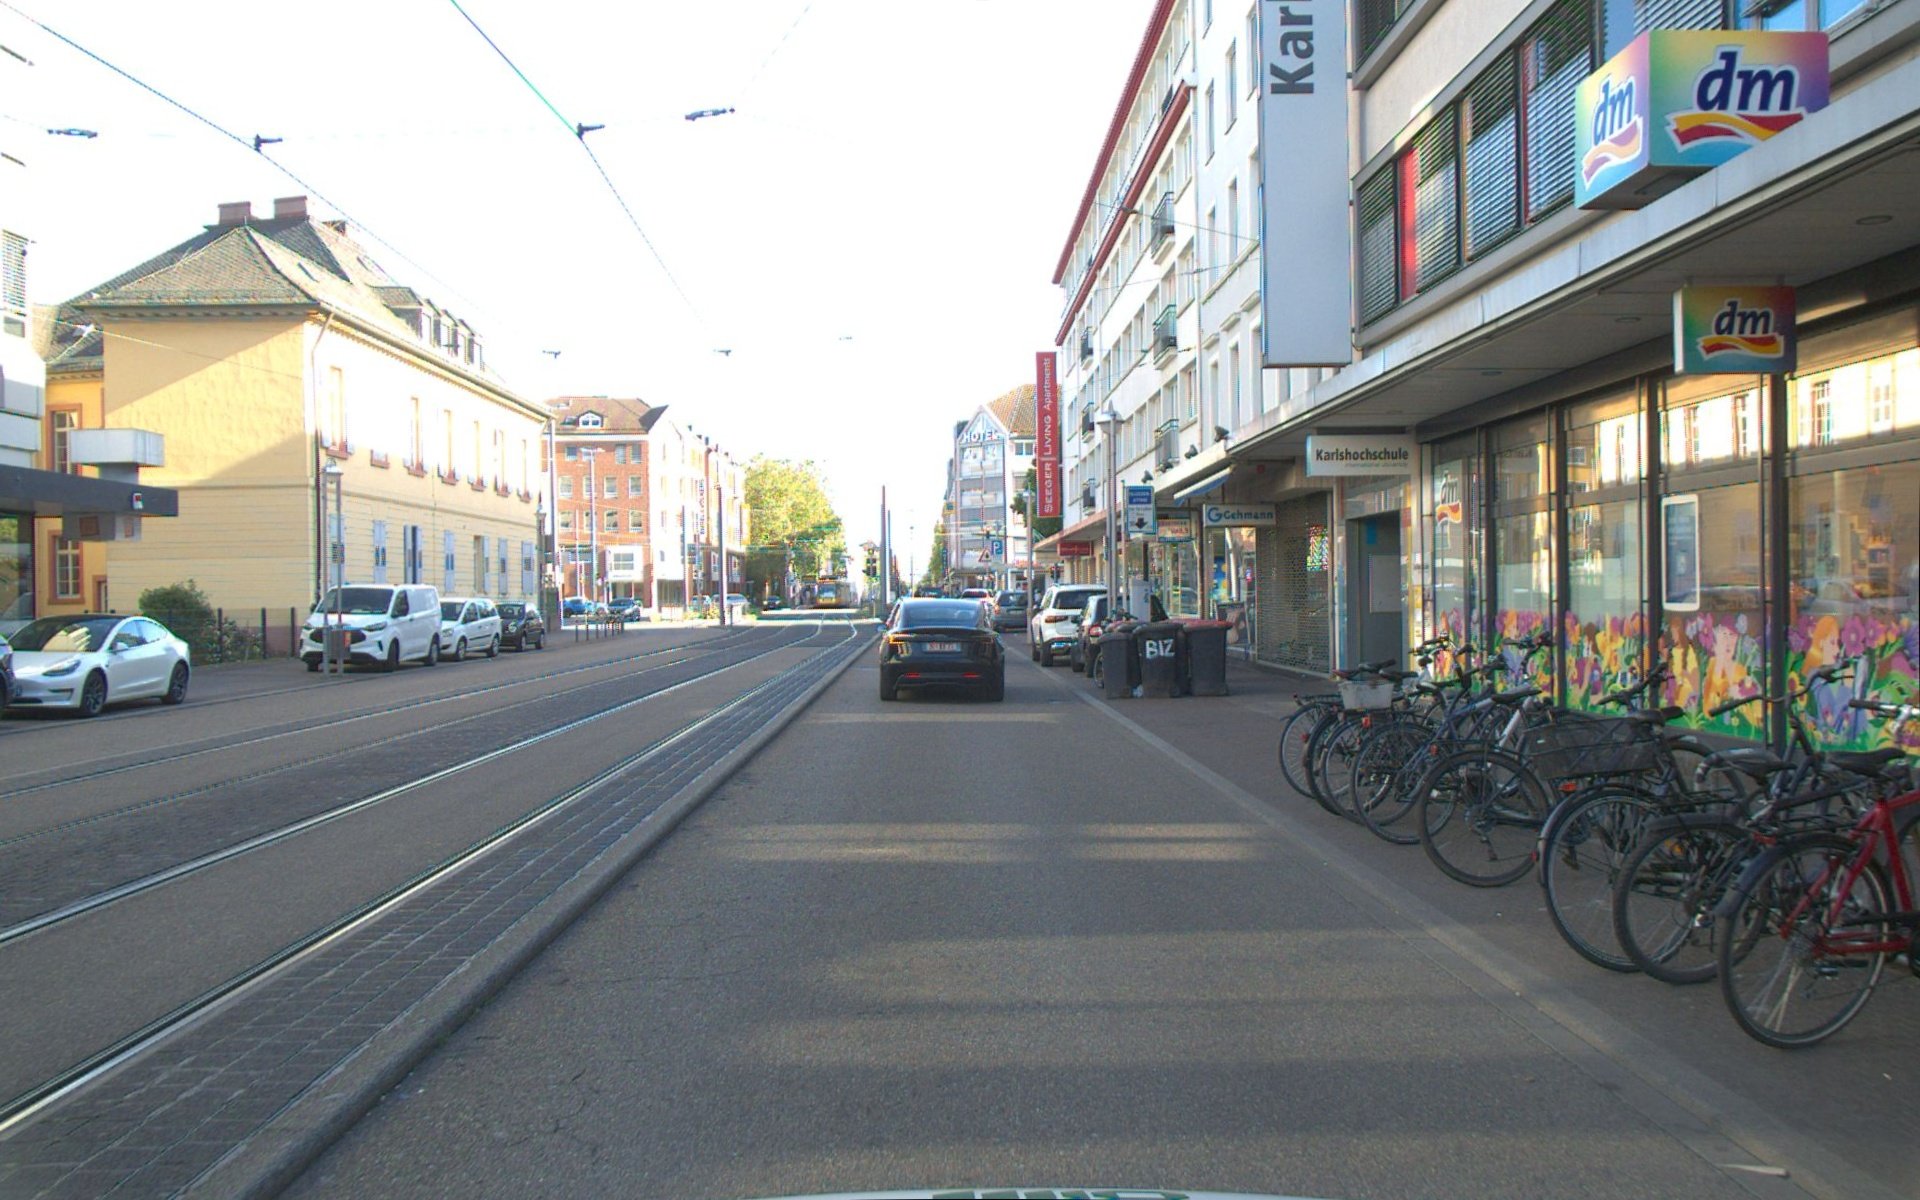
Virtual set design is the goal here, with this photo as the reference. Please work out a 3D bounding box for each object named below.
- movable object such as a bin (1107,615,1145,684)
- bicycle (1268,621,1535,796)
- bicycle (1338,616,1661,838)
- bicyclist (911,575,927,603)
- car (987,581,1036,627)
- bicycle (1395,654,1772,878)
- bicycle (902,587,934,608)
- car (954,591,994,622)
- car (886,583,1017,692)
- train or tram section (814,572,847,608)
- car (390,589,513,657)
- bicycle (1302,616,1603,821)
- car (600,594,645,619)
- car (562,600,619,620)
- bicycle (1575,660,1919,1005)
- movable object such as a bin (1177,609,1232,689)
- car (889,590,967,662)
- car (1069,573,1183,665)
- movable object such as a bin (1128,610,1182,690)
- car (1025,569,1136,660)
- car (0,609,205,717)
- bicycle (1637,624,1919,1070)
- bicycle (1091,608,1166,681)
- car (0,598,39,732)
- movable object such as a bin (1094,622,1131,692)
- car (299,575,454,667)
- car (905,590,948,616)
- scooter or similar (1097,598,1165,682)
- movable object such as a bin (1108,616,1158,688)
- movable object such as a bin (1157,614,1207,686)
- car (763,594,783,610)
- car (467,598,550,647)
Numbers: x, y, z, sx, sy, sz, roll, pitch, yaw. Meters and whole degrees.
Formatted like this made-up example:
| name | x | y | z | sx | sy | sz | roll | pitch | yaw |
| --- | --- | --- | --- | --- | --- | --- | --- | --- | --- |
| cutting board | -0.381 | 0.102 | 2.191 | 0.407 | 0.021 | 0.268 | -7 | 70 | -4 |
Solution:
| name | x | y | z | sx | sy | sz | roll | pitch | yaw |
| --- | --- | --- | --- | --- | --- | --- | --- | --- | --- |
| movable object such as a bin | 2.540 | 0.752 | 25.343 | 0.511 | 1.032 | 0.671 | -2 | 0 | 1 |
| bicycle | 3.226 | 0.780 | 12.179 | 1.751 | 1.179 | 0.669 | -2 | 0 | -2 |
| bicycle | 3.257 | 0.753 | 10.062 | 1.751 | 1.238 | 0.587 | -2 | 0 | -2 |
| bicyclist | -2.307 | -0.615 | 92.460 | 0.821 | 1.526 | 0.559 | 1 | 0 | -9 |
| car | 1.960 | 0.119 | 63.815 | 1.710 | 1.660 | 3.648 | -2 | 1 | -1 |
| bicycle | 3.249 | 0.851 | 8.695 | 1.737 | 1.050 | 0.596 | -2 | 0 | -2 |
| bicycle | -2.336 | -0.144 | 92.436 | 1.696 | 1.107 | 0.677 | 1 | 0 | -9 |
| car | 0.715 | 0.337 | 86.140 | 1.748 | 1.545 | 4.214 | 1 | 0 | -4 |
| car | -0.187 | 0.530 | 24.953 | 1.812 | 1.510 | 3.785 | 0 | 0 | -2 |
| train or tram section | -14.304 | -1.033 | 183.642 | 2.620 | 3.780 | 14.190 | 1 | 0 | -1 |
| car | -13.707 | 0.587 | 44.843 | 1.770 | 1.715 | 4.649 | 1 | 0 | 1 |
| bicycle | 3.222 | 0.756 | 10.912 | 1.751 | 1.238 | 0.669 | -2 | 0 | -2 |
| car | -20.750 | 0.400 | 101.820 | 1.864 | 1.489 | 4.000 | 1 | 0 | 0 |
| car | -27.919 | 0.790 | 124.925 | 1.958 | 1.445 | 3.988 | 1 | 0 | 33 |
| bicycle | 3.267 | 0.833 | 6.216 | 1.739 | 1.150 | 0.478 | -2 | 0 | -7 |
| movable object such as a bin | 3.530 | 0.706 | 23.934 | 0.676 | 1.108 | 0.666 | -2 | 0 | 2 |
| car | -0.685 | 0.527 | 36.487 | 1.620 | 1.443 | 4.000 | 1 | 1 | 0 |
| car | 3.030 | 0.326 | 30.876 | 1.582 | 1.555 | 4.069 | -2 | 0 | -2 |
| movable object such as a bin | 2.818 | 0.719 | 23.951 | 0.676 | 1.108 | 0.686 | -2 | 0 | 2 |
| car | 2.537 | 0.293 | 35.974 | 1.812 | 1.754 | 5.191 | -3 | 0 | -2 |
| car | -13.492 | 0.889 | 25.349 | 1.850 | 1.446 | 4.654 | 1 | 0 | -2 |
| bicycle | 3.371 | 0.742 | 5.581 | 2.000 | 1.296 | 0.523 | -4 | 1 | -11 |
| bicycle | 2.699 | 0.711 | 26.485 | 1.108 | 1.098 | 0.319 | -3 | 0 | -3 |
| car | -13.241 | 0.824 | 19.724 | 1.938 | 1.708 | 4.654 | 1 | 0 | -1 |
| movable object such as a bin | 2.214 | 0.825 | 24.040 | 0.477 | 0.975 | 0.458 | -2 | 0 | 2 |
| car | -13.614 | 0.462 | 38.940 | 1.953 | 2.009 | 5.095 | 1 | 0 | -2 |
| car | -2.107 | 0.190 | 102.340 | 1.793 | 1.545 | 4.203 | 1 | 0 | -14 |
| scooter or similar | 2.688 | 0.627 | 26.003 | 0.973 | 1.253 | 0.319 | -3 | 0 | -3 |
| movable object such as a bin | 2.573 | 0.770 | 24.645 | 0.672 | 1.032 | 0.508 | -2 | 0 | 1 |
| movable object such as a bin | 3.303 | 0.733 | 24.634 | 0.644 | 1.032 | 0.636 | -2 | 0 | 1 |
| car | -19.927 | 0.254 | 176.638 | 1.715 | 1.680 | 3.999 | 1 | 0 | -1 |
| car | -13.757 | 0.665 | 50.540 | 1.581 | 1.425 | 3.719 | 1 | 0 | -2 |
